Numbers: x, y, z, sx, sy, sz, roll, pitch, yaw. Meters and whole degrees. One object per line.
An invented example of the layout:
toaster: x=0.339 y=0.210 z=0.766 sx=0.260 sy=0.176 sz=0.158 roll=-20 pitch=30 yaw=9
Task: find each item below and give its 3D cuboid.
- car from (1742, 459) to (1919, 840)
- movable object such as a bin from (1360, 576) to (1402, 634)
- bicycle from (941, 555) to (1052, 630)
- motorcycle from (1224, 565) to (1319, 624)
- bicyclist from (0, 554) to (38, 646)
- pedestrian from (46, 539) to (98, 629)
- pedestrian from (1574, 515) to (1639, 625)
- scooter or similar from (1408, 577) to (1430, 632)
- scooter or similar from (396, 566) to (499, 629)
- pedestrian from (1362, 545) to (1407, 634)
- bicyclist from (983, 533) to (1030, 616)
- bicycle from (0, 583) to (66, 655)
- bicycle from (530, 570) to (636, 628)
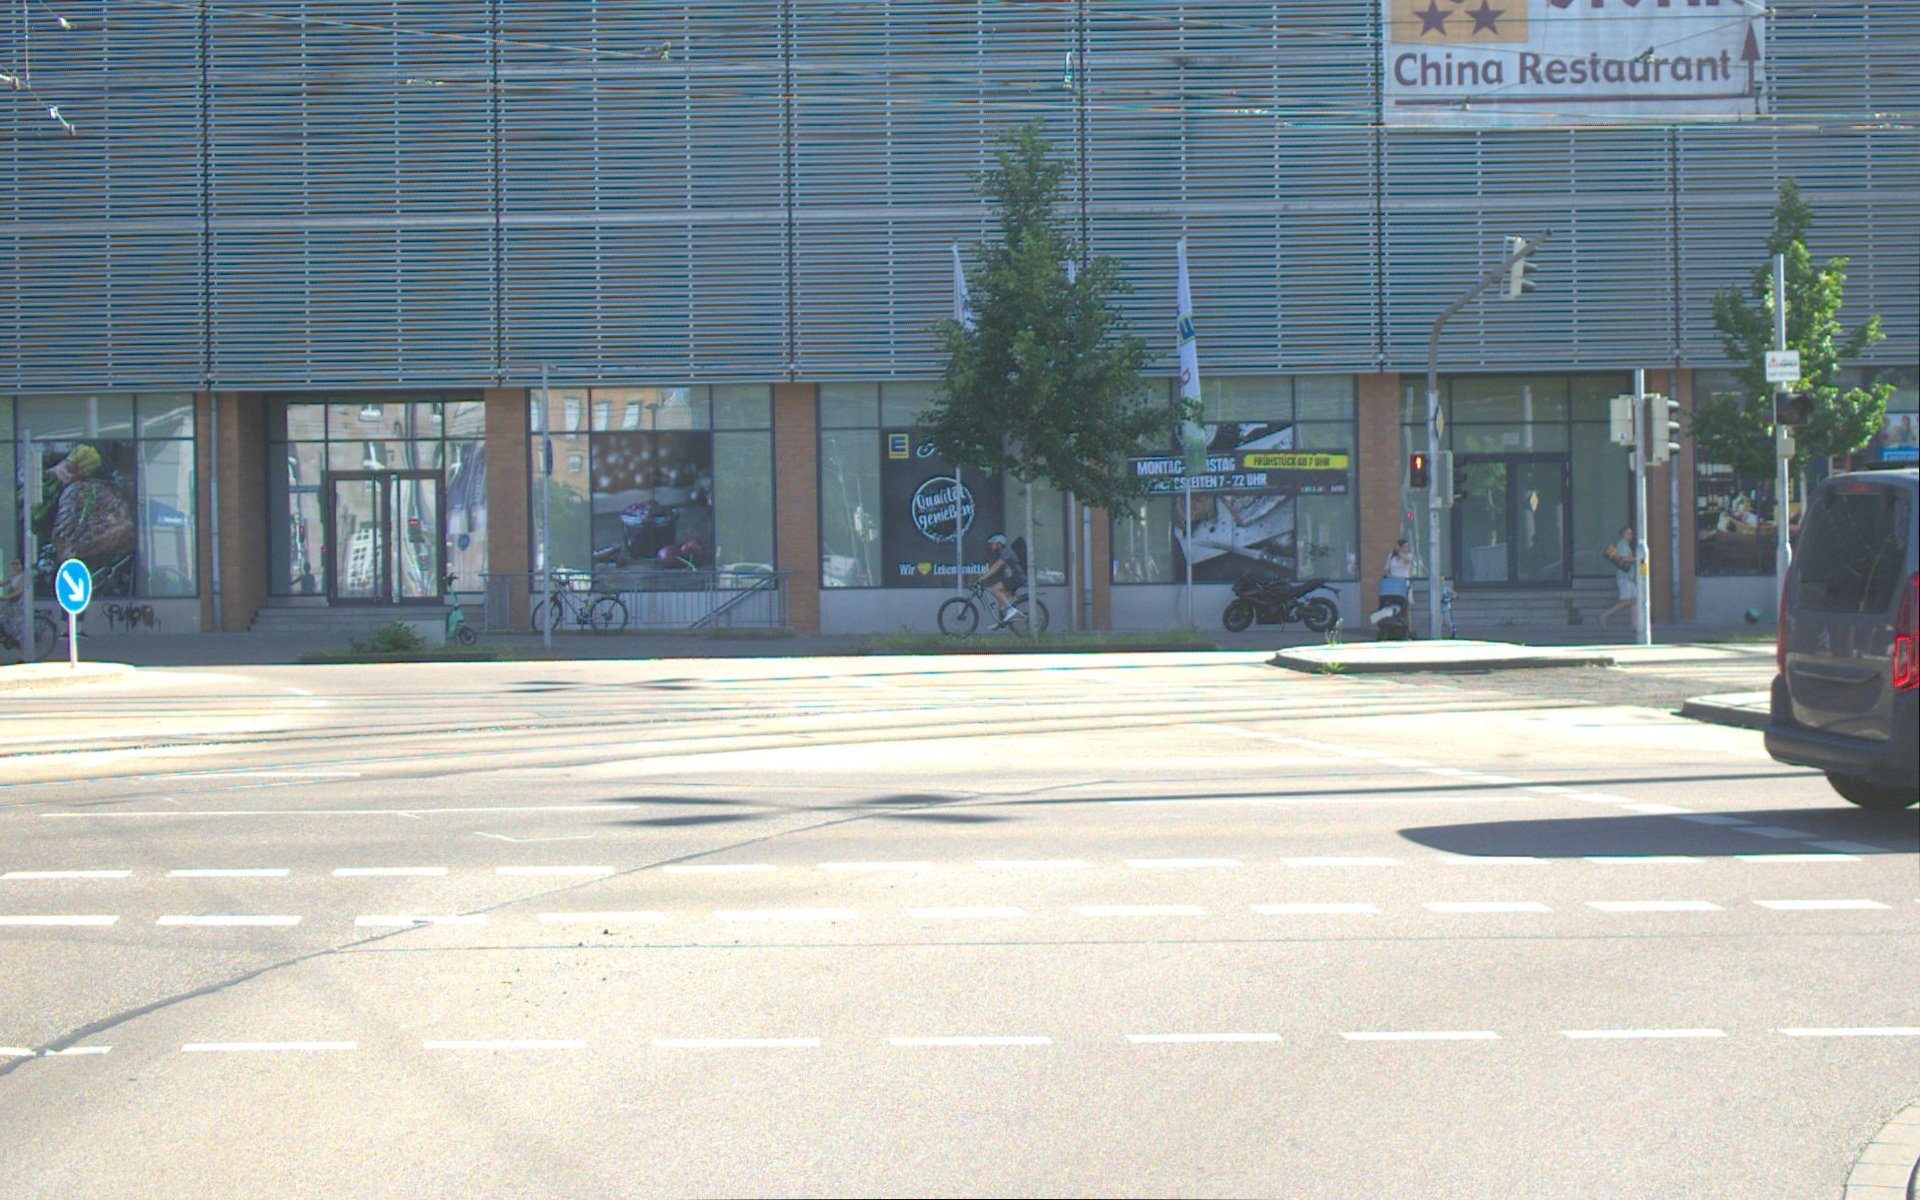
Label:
car: x=6.381 y=0.198 z=17.275 sx=4.457 sy=1.785 sz=1.710 roll=-1 pitch=1 yaw=-8
movable object such as a bin: x=6.715 y=0.078 z=54.819 sx=0.613 sy=0.901 sz=0.968 roll=1 pitch=0 yaw=10
bicycle: x=0.619 y=-0.136 z=58.359 sx=1.857 sy=1.213 sz=0.569 roll=-1 pitch=2 yaw=-1
motorcycle: x=5.497 y=-0.103 z=60.646 sx=1.640 sy=1.001 sz=0.446 roll=1 pitch=1 yaw=6
bicyclist: x=-15.276 y=0.000 z=54.792 sx=0.675 sy=1.422 sz=0.847 roll=1 pitch=3 yaw=43
pedestrian: x=-15.854 y=-0.287 z=61.399 sx=0.661 sy=1.595 sz=0.594 roll=1 pitch=0 yaw=18
pedestrian: x=11.168 y=-0.513 z=59.397 sx=0.950 sy=1.822 sz=0.845 roll=-2 pitch=-3 yaw=5
scooter or similar: x=7.354 y=0.074 z=55.102 sx=0.295 sy=0.870 sz=1.003 roll=1 pitch=0 yaw=10
scooter or similar: x=-9.075 y=-0.047 z=60.936 sx=1.792 sy=1.062 sz=0.613 roll=0 pitch=2 yaw=-8
pedestrian: x=6.834 y=-0.178 z=55.279 sx=0.655 sy=1.409 sz=0.849 roll=1 pitch=0 yaw=10
bicyclist: x=0.786 y=-0.431 z=58.351 sx=0.753 sy=1.382 sz=0.565 roll=-1 pitch=2 yaw=-1
bicycle: x=-15.242 y=0.309 z=54.872 sx=0.568 sy=1.082 sz=1.859 roll=1 pitch=3 yaw=43
bicycle: x=-6.646 y=-0.018 z=60.553 sx=1.815 sy=0.986 sz=0.558 roll=-1 pitch=2 yaw=-10
